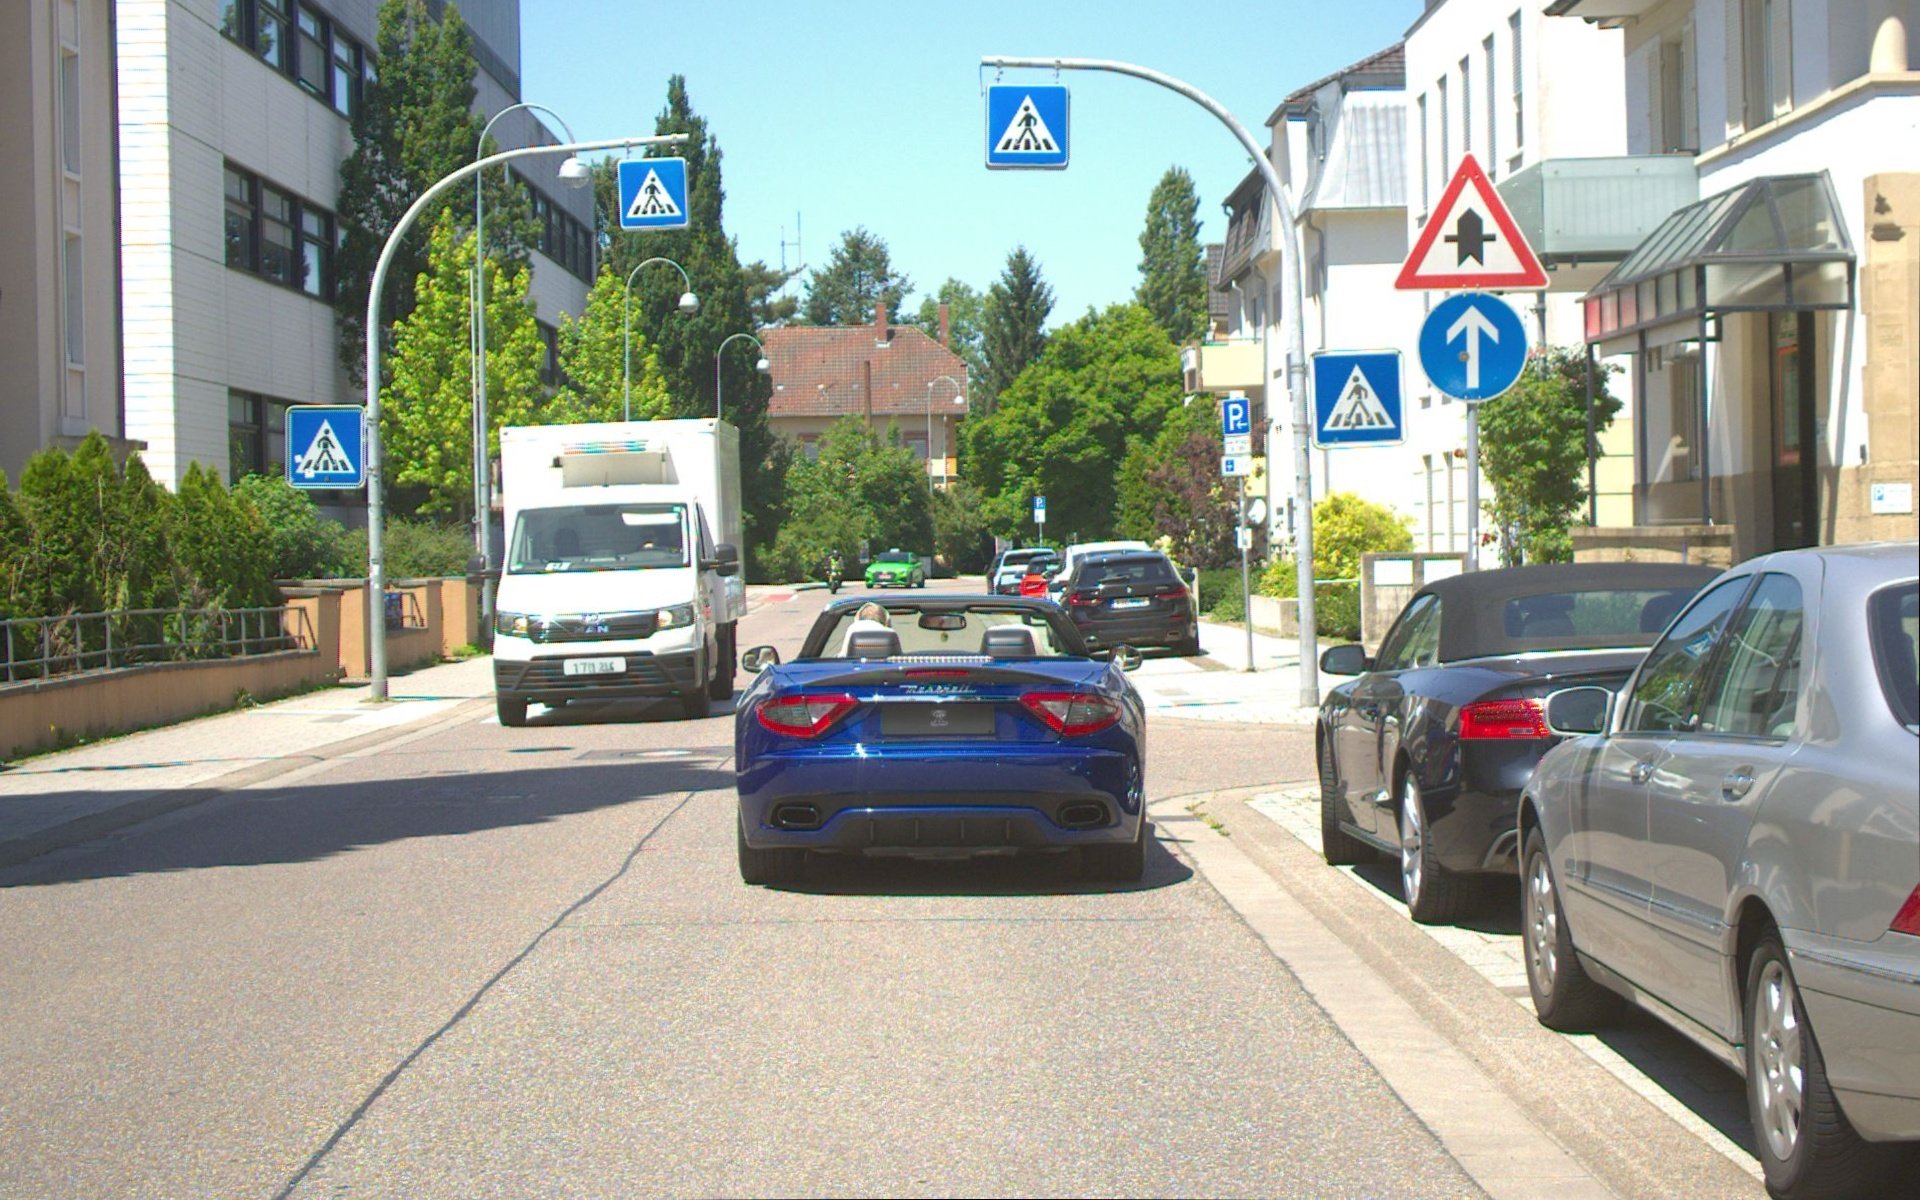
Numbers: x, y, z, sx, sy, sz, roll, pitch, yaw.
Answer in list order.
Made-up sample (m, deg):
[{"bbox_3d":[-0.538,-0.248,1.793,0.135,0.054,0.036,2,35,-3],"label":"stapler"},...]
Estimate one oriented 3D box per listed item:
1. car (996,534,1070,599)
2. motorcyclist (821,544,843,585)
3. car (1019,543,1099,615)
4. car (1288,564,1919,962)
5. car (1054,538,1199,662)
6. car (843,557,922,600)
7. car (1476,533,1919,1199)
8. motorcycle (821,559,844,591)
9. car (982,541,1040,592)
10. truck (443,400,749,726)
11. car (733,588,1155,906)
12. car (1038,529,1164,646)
[{"bbox_3d":[1.937,-0.917,92.816,1.843,1.614,4.427,-3,1,0],"label":"car"},{"bbox_3d":[-4.518,-1.256,121.732,0.699,1.428,0.707,-3,1,0],"label":"motorcyclist"},{"bbox_3d":[2.159,-0.479,75.876,1.603,1.436,3.853,-4,1,1],"label":"car"},{"bbox_3d":[2.596,0.575,14.982,1.826,1.422,4.700,-1,1,0],"label":"car"},{"bbox_3d":[2.287,-0.042,48.269,1.705,1.551,4.748,-3,1,0],"label":"car"},{"bbox_3d":[-3.105,-0.851,136.327,1.822,1.583,4.102,2,1,-21],"label":"car"},{"bbox_3d":[2.613,0.576,8.805,1.743,1.463,4.852,-3,1,0],"label":"car"},{"bbox_3d":[-4.507,-0.885,121.849,0.699,1.103,1.790,-3,1,0],"label":"motorcycle"},{"bbox_3d":[1.578,-1.066,107.509,1.631,1.441,4.398,-4,1,0],"label":"car"},{"bbox_3d":[-3.582,-0.397,35.128,2.420,2.973,6.258,-1,1,0],"label":"truck"},{"bbox_3d":[-0.085,0.630,17.275,1.826,1.332,4.700,0,1,0],"label":"car"},{"bbox_3d":[2.206,-0.232,54.799,1.705,1.660,4.580,-3,1,0],"label":"car"}]
